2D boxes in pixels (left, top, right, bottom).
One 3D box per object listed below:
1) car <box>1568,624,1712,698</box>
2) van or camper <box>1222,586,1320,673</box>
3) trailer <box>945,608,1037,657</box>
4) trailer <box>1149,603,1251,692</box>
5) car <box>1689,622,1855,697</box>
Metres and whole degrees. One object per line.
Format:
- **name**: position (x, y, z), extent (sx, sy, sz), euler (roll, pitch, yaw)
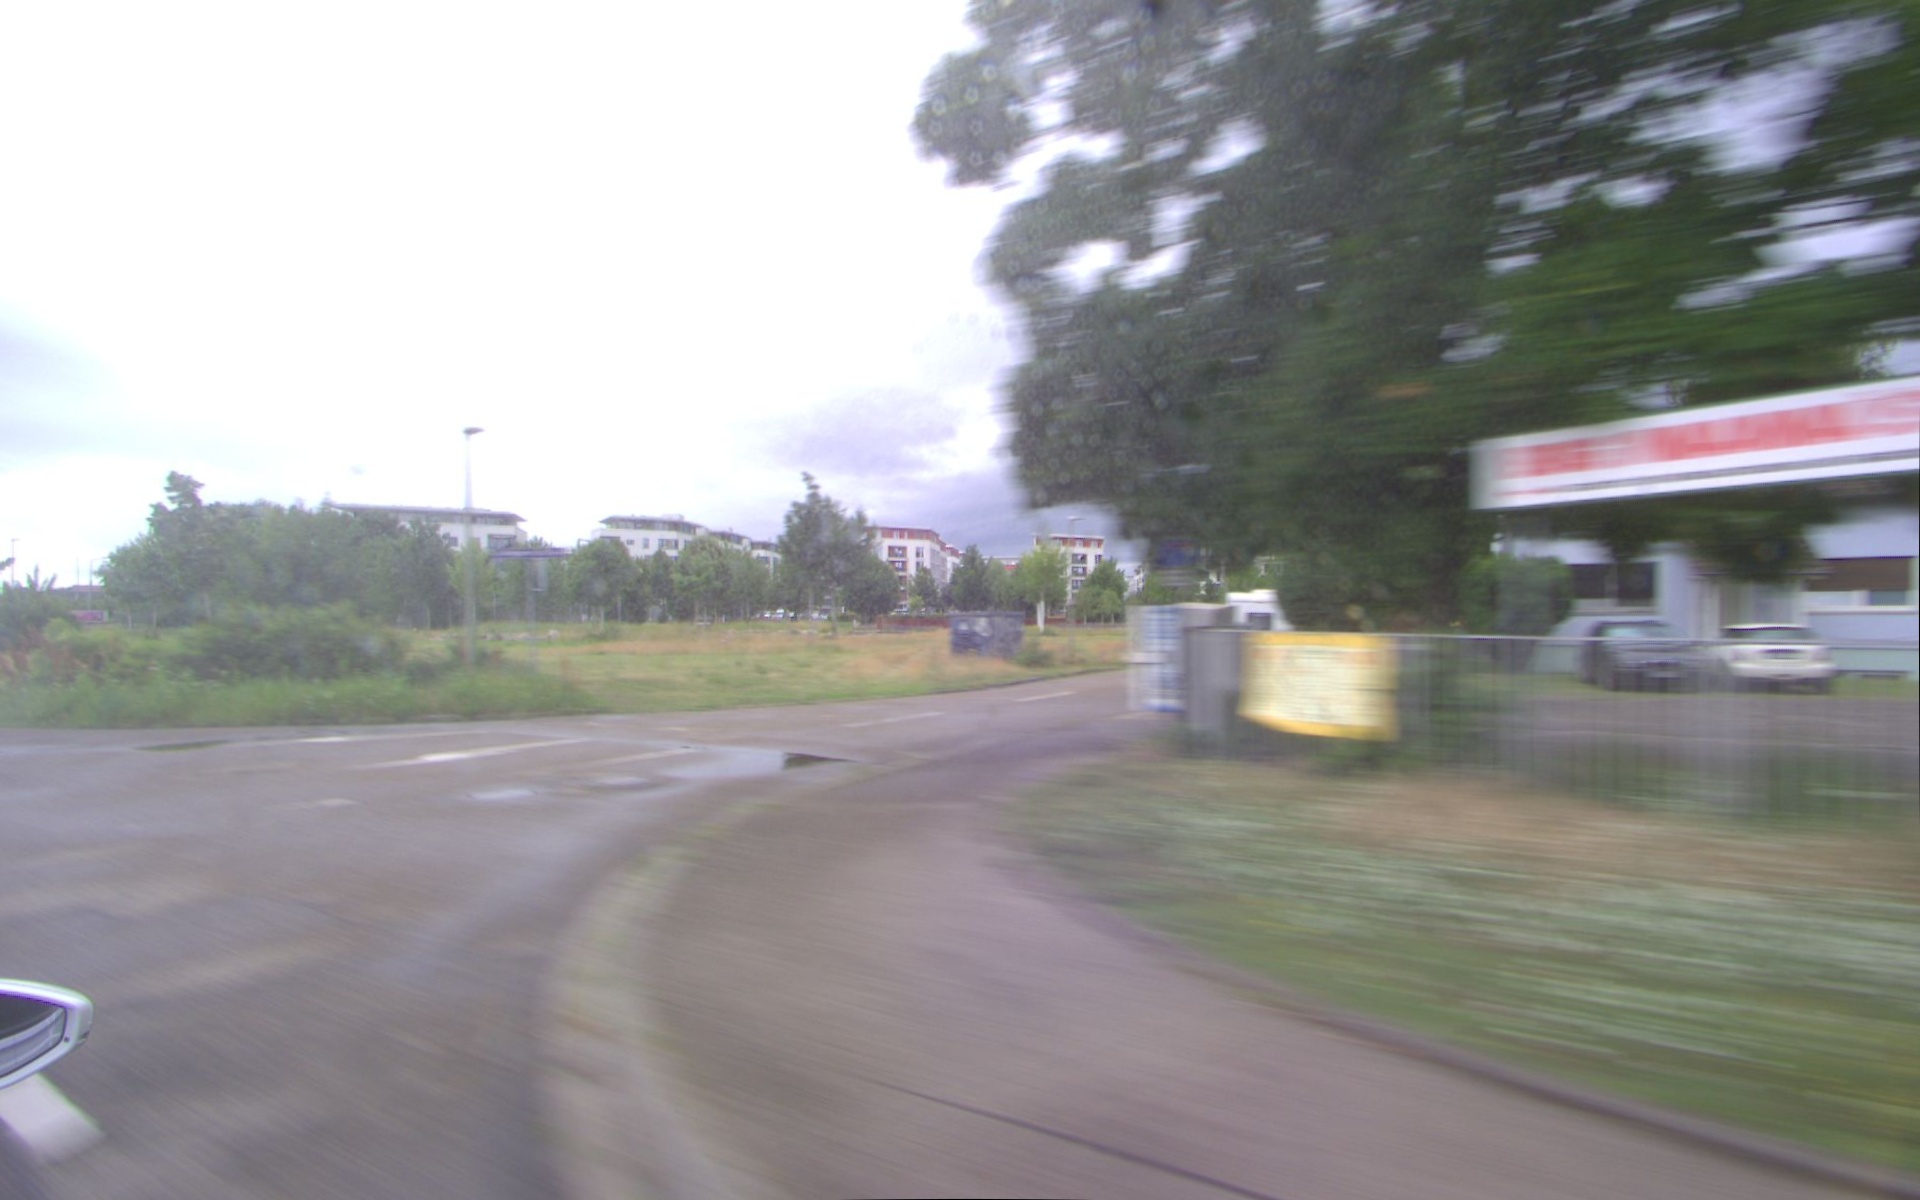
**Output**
- **car**: position (14.791, 1.266, 22.008), extent (1.837, 1.428, 3.990), euler (0, -1, 23)
- **van or camper**: position (11.261, 1.021, 35.982), extent (2.379, 2.869, 5.158), euler (1, 0, 29)
- **trailer**: position (1.146, 1.103, 35.039), extent (1.729, 1.553, 4.107), euler (1, 0, 25)
- **trailer**: position (6.159, 1.142, 25.401), extent (1.617, 2.040, 3.985), euler (1, 0, 27)
- **car**: position (17.258, 1.194, 21.527), extent (1.806, 1.405, 4.290), euler (0, -1, 26)
